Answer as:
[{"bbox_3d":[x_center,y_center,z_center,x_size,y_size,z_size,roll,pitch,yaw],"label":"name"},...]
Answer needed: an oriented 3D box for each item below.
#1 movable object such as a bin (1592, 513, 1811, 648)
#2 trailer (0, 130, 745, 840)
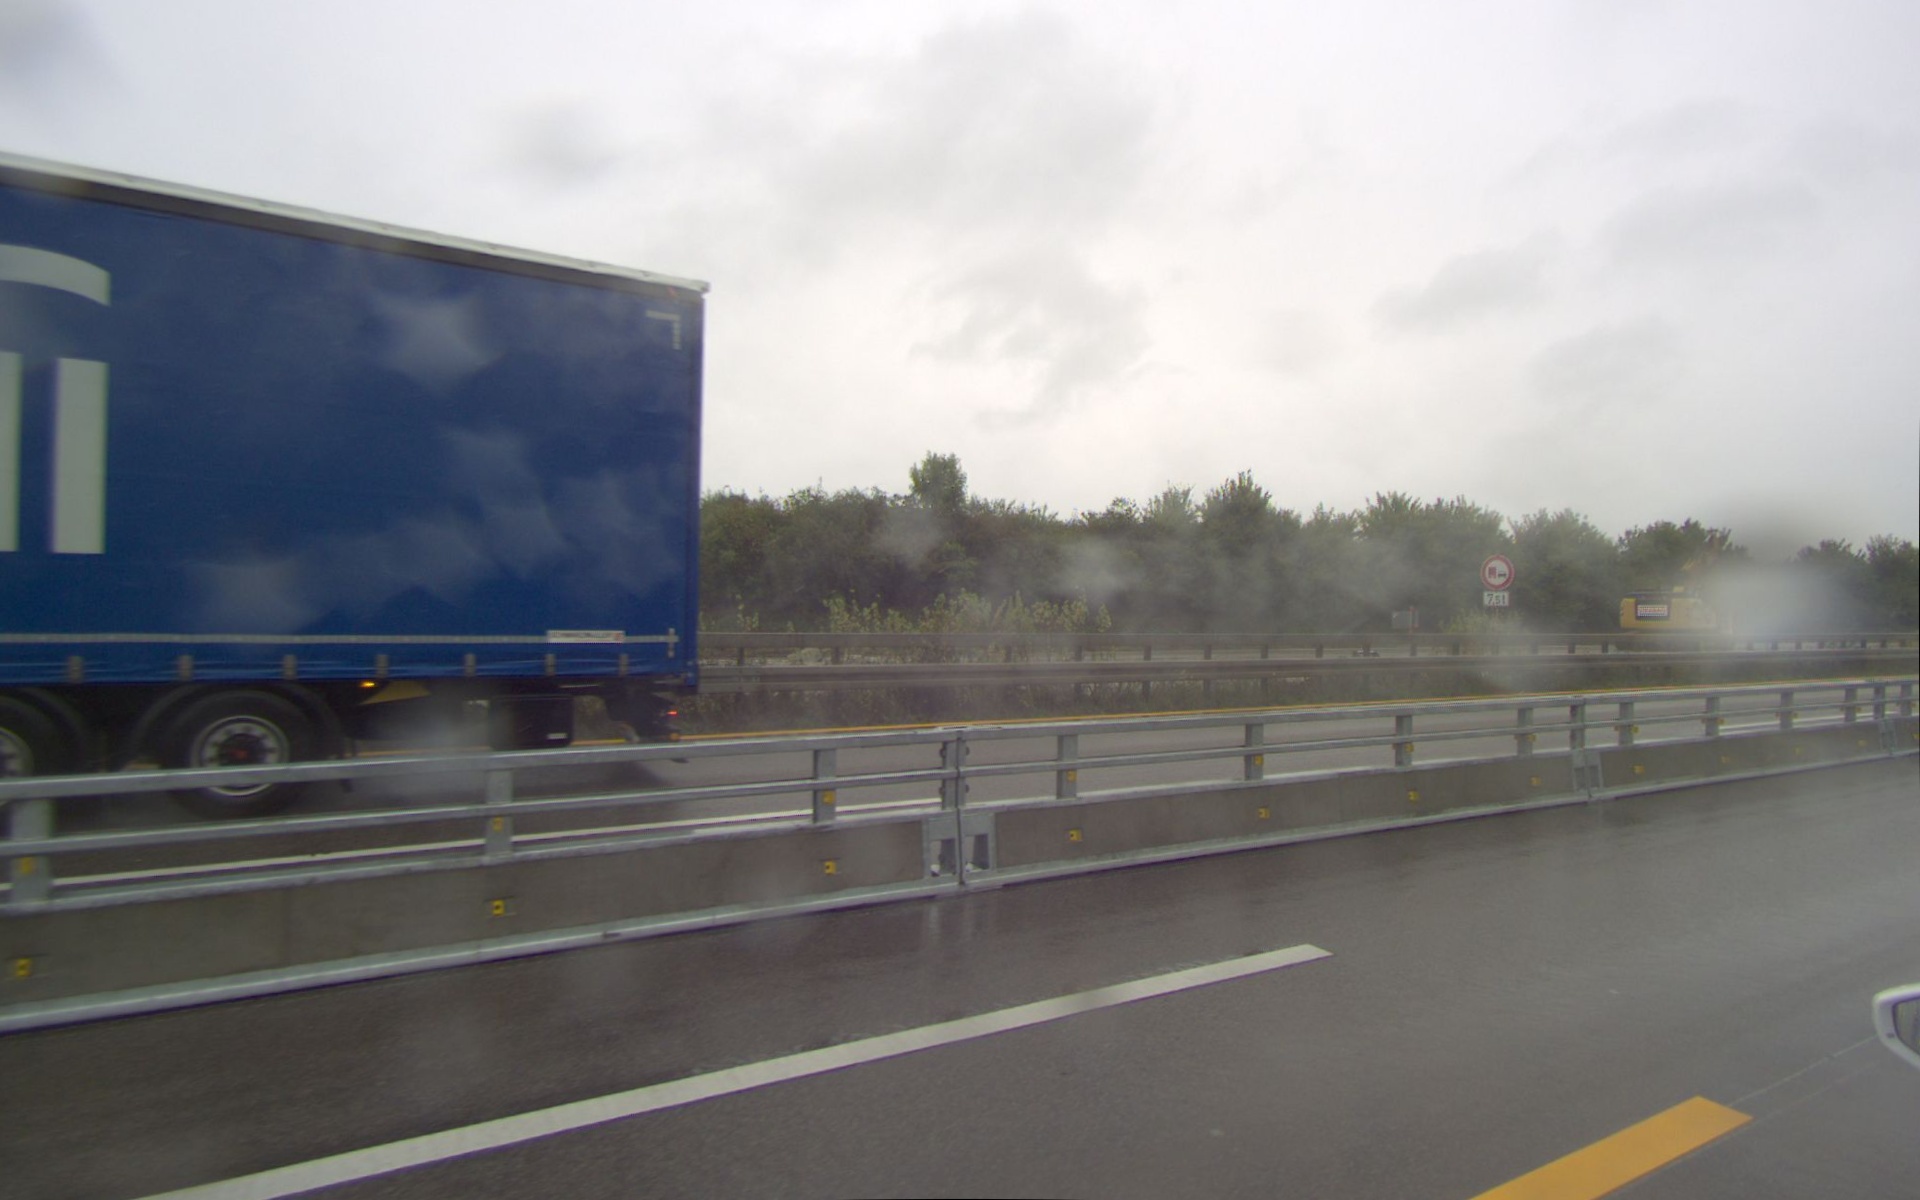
[{"bbox_3d":[36.294,-0.759,49.092,10.905,5.994,4.155,1,0,-28],"label":"movable object such as a bin"},{"bbox_3d":[-7.712,-0.708,6.133,12.283,4.132,2.588,2,-1,-30],"label":"trailer"}]
